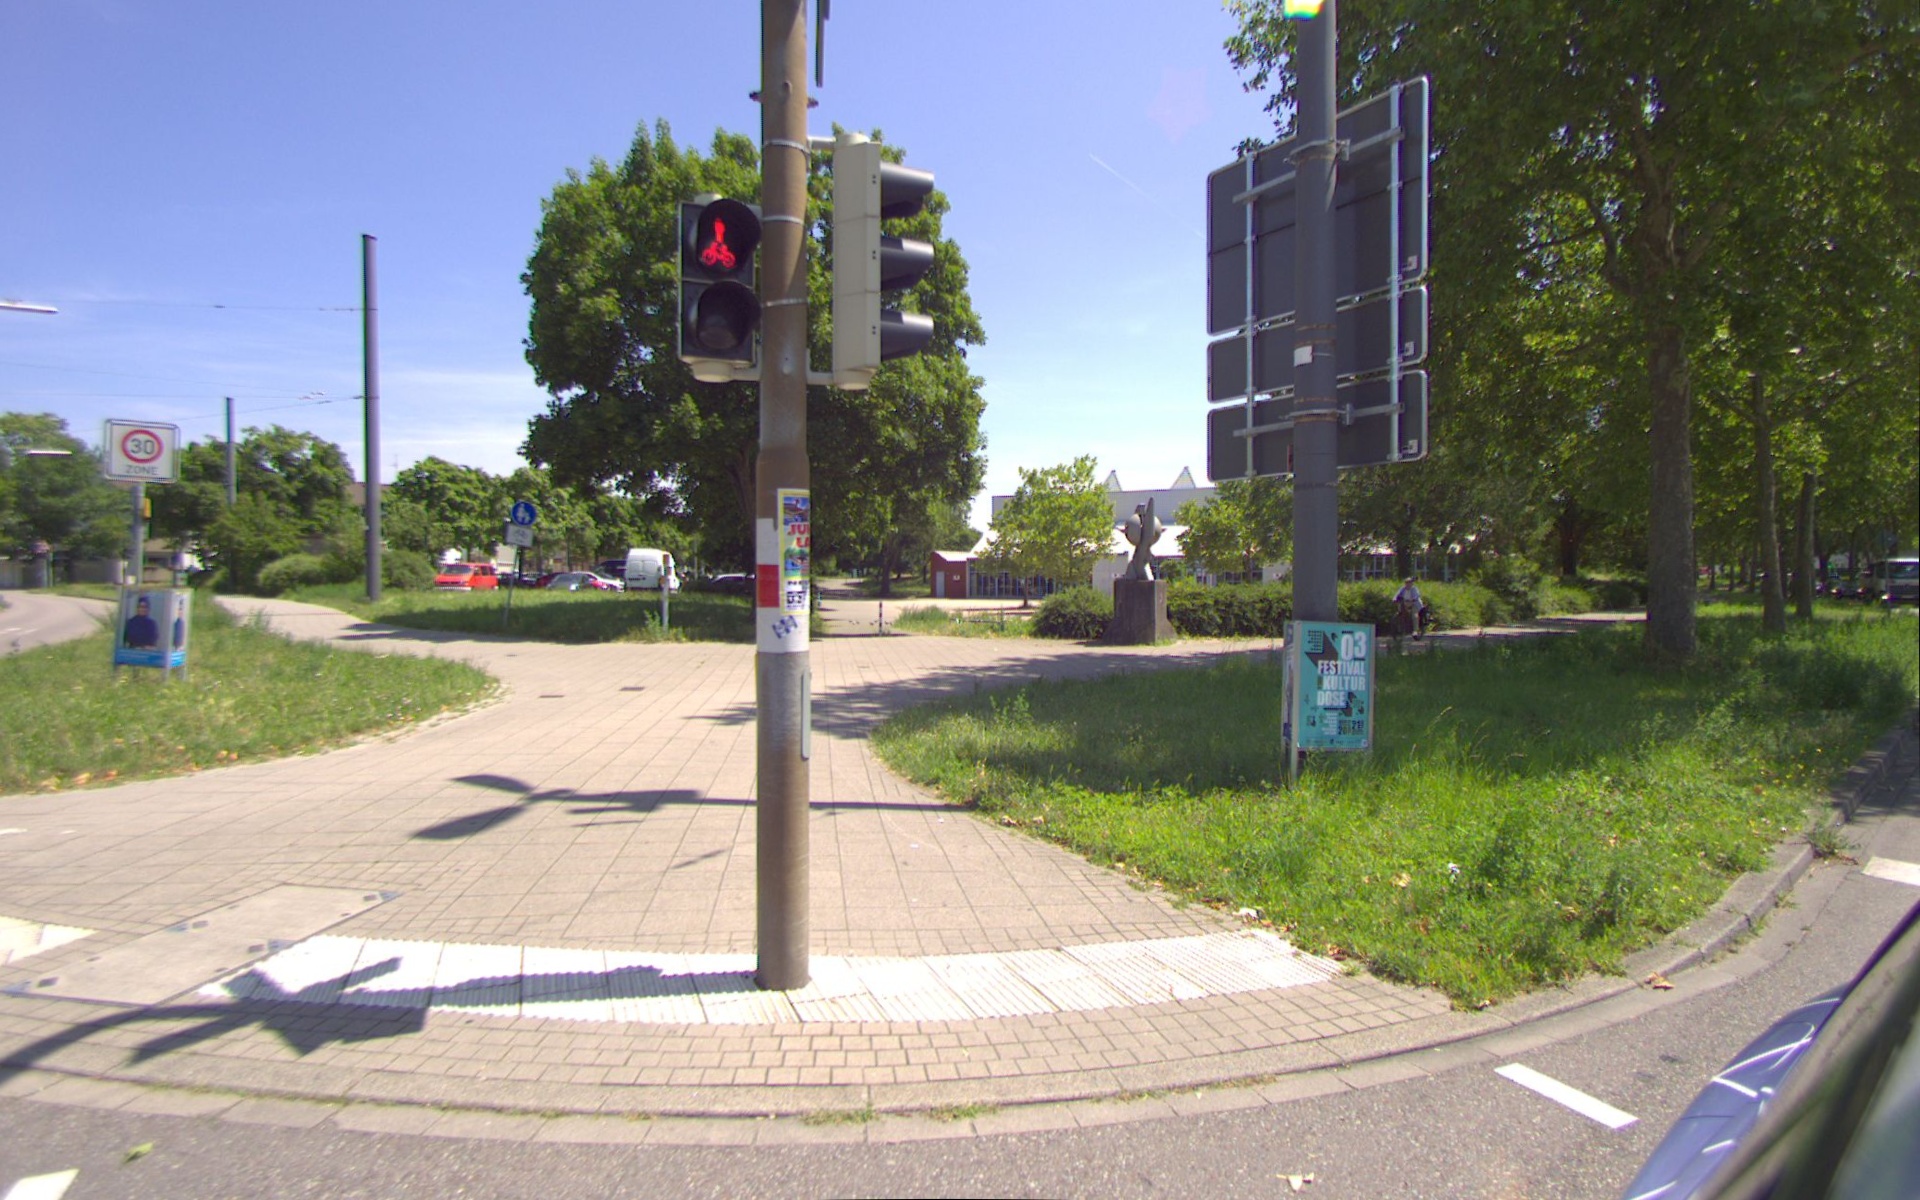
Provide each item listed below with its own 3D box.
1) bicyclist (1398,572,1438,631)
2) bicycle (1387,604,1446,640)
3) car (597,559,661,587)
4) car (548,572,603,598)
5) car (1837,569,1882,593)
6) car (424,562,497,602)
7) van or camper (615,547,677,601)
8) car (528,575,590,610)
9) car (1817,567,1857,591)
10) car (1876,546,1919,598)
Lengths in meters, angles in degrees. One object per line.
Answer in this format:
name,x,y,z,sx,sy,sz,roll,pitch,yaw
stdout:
bicyclist,10.727,0.021,23.692,0.653,1.355,0.601,-1,1,-34
bicycle,10.678,0.497,23.668,1.636,0.773,0.465,-1,1,-34
car,-25.123,-2.066,76.971,4.331,2.039,2.251,0,1,-10
car,-24.562,-0.958,64.771,3.018,1.624,1.516,0,1,-6
car,62.440,-1.351,70.291,1.989,1.638,3.947,1,1,37
car,-26.439,-0.976,53.741,2.032,2.028,4.670,0,1,-7
van or camper,-16.910,-1.408,54.788,2.159,2.785,5.136,0,1,-5
car,-20.749,-0.427,52.514,1.917,1.739,4.076,0,1,-6
car,70.162,-1.709,81.028,1.987,1.860,3.950,1,1,35
car,51.310,-1.495,54.485,2.909,2.687,6.269,1,1,43
